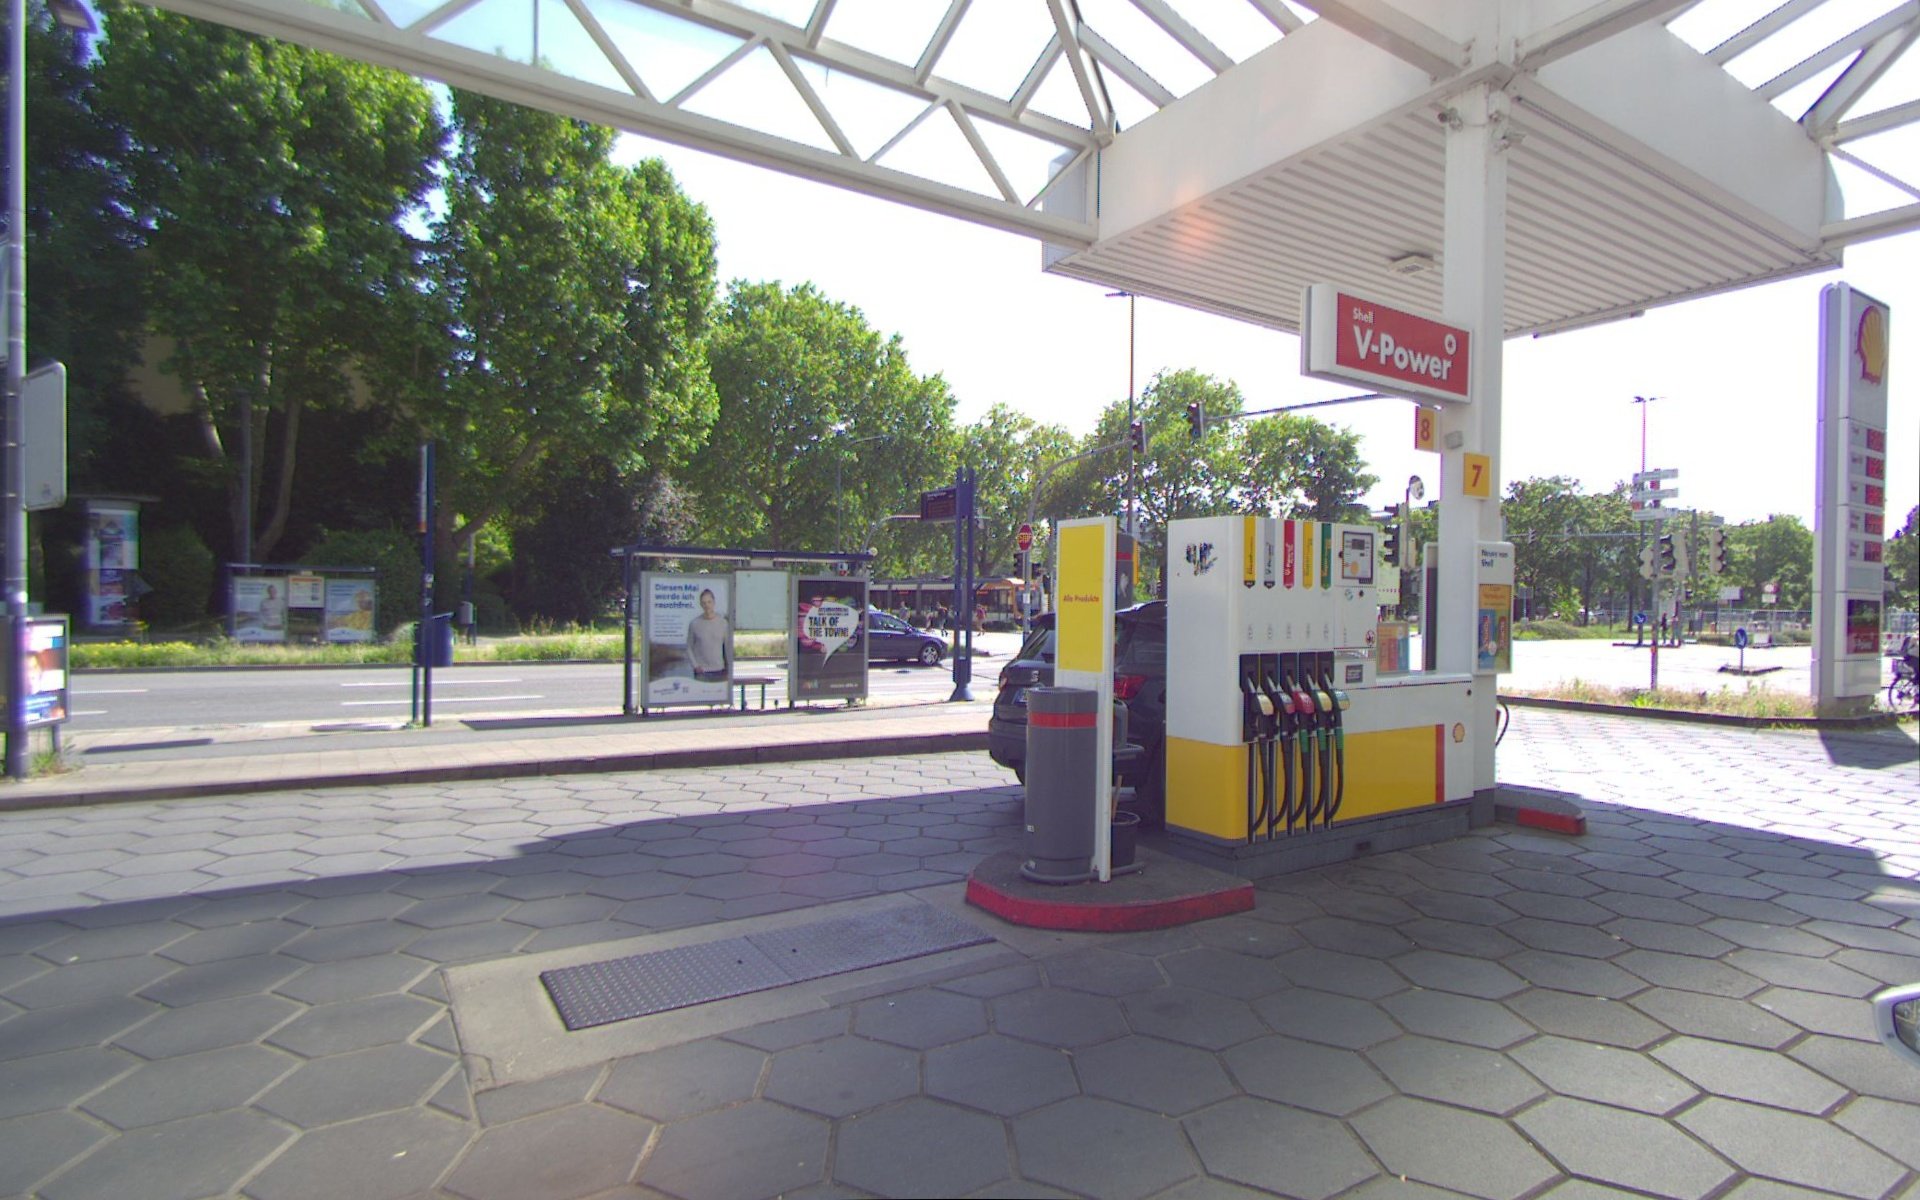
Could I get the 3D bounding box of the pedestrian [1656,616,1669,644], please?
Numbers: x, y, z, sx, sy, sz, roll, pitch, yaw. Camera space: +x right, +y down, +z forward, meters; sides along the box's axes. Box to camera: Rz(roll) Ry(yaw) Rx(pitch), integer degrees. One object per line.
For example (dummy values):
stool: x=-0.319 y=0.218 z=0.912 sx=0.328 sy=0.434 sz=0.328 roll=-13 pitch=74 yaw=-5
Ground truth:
pedestrian: x=38.338 y=1.620 z=54.800 sx=0.555 sy=1.488 sz=0.512 roll=1 pitch=0 yaw=33

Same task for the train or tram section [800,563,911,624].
train or tram section: x=-9.017 y=-0.499 z=83.599 sx=2.303 sy=4.549 sz=15.783 roll=1 pitch=-1 yaw=-32

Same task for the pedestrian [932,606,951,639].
pedestrian: x=-0.950 y=1.182 z=51.878 sx=0.778 sy=1.696 sz=0.556 roll=1 pitch=-2 yaw=-36

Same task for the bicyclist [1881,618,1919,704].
bicyclist: x=18.475 y=1.164 z=19.296 sx=0.627 sy=1.601 sz=1.174 roll=1 pitch=0 yaw=12

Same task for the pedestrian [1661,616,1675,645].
pedestrian: x=37.896 y=1.630 z=53.769 sx=0.555 sy=1.488 sz=0.512 roll=1 pitch=0 yaw=33

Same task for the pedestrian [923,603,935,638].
pedestrian: x=-1.842 y=1.200 z=58.840 sx=0.691 sy=2.013 sz=0.741 roll=0 pitch=-2 yaw=-2

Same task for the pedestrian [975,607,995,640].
pedestrian: x=1.316 y=1.234 z=52.952 sx=0.864 sy=1.746 sz=0.679 roll=2 pitch=-2 yaw=-42

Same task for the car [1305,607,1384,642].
car: x=23.120 y=1.512 z=60.600 sx=4.359 sy=2.040 sz=2.000 roll=-1 pitch=-2 yaw=19

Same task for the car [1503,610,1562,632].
car: x=48.875 y=1.833 z=85.787 sx=1.975 sy=1.839 sz=3.972 roll=1 pitch=-2 yaw=-28

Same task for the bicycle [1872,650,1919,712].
bicycle: x=18.454 y=1.561 z=19.165 sx=0.627 sy=1.096 sz=2.027 roll=1 pitch=0 yaw=12

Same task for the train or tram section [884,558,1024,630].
train or tram section: x=-0.836 y=-0.361 z=70.626 sx=2.303 sy=4.549 sz=14.810 roll=1 pitch=-1 yaw=-32

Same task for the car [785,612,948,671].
car: x=-2.445 y=1.060 z=26.586 sx=3.959 sy=1.385 sz=1.670 roll=1 pitch=2 yaw=-33

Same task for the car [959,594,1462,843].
car: x=2.109 y=0.800 z=8.096 sx=3.957 sy=1.552 sz=1.733 roll=2 pitch=-2 yaw=-33

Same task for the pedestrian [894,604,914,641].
pedestrian: x=-2.843 y=1.148 z=51.278 sx=0.758 sy=1.881 sz=0.724 roll=-1 pitch=-2 yaw=24
